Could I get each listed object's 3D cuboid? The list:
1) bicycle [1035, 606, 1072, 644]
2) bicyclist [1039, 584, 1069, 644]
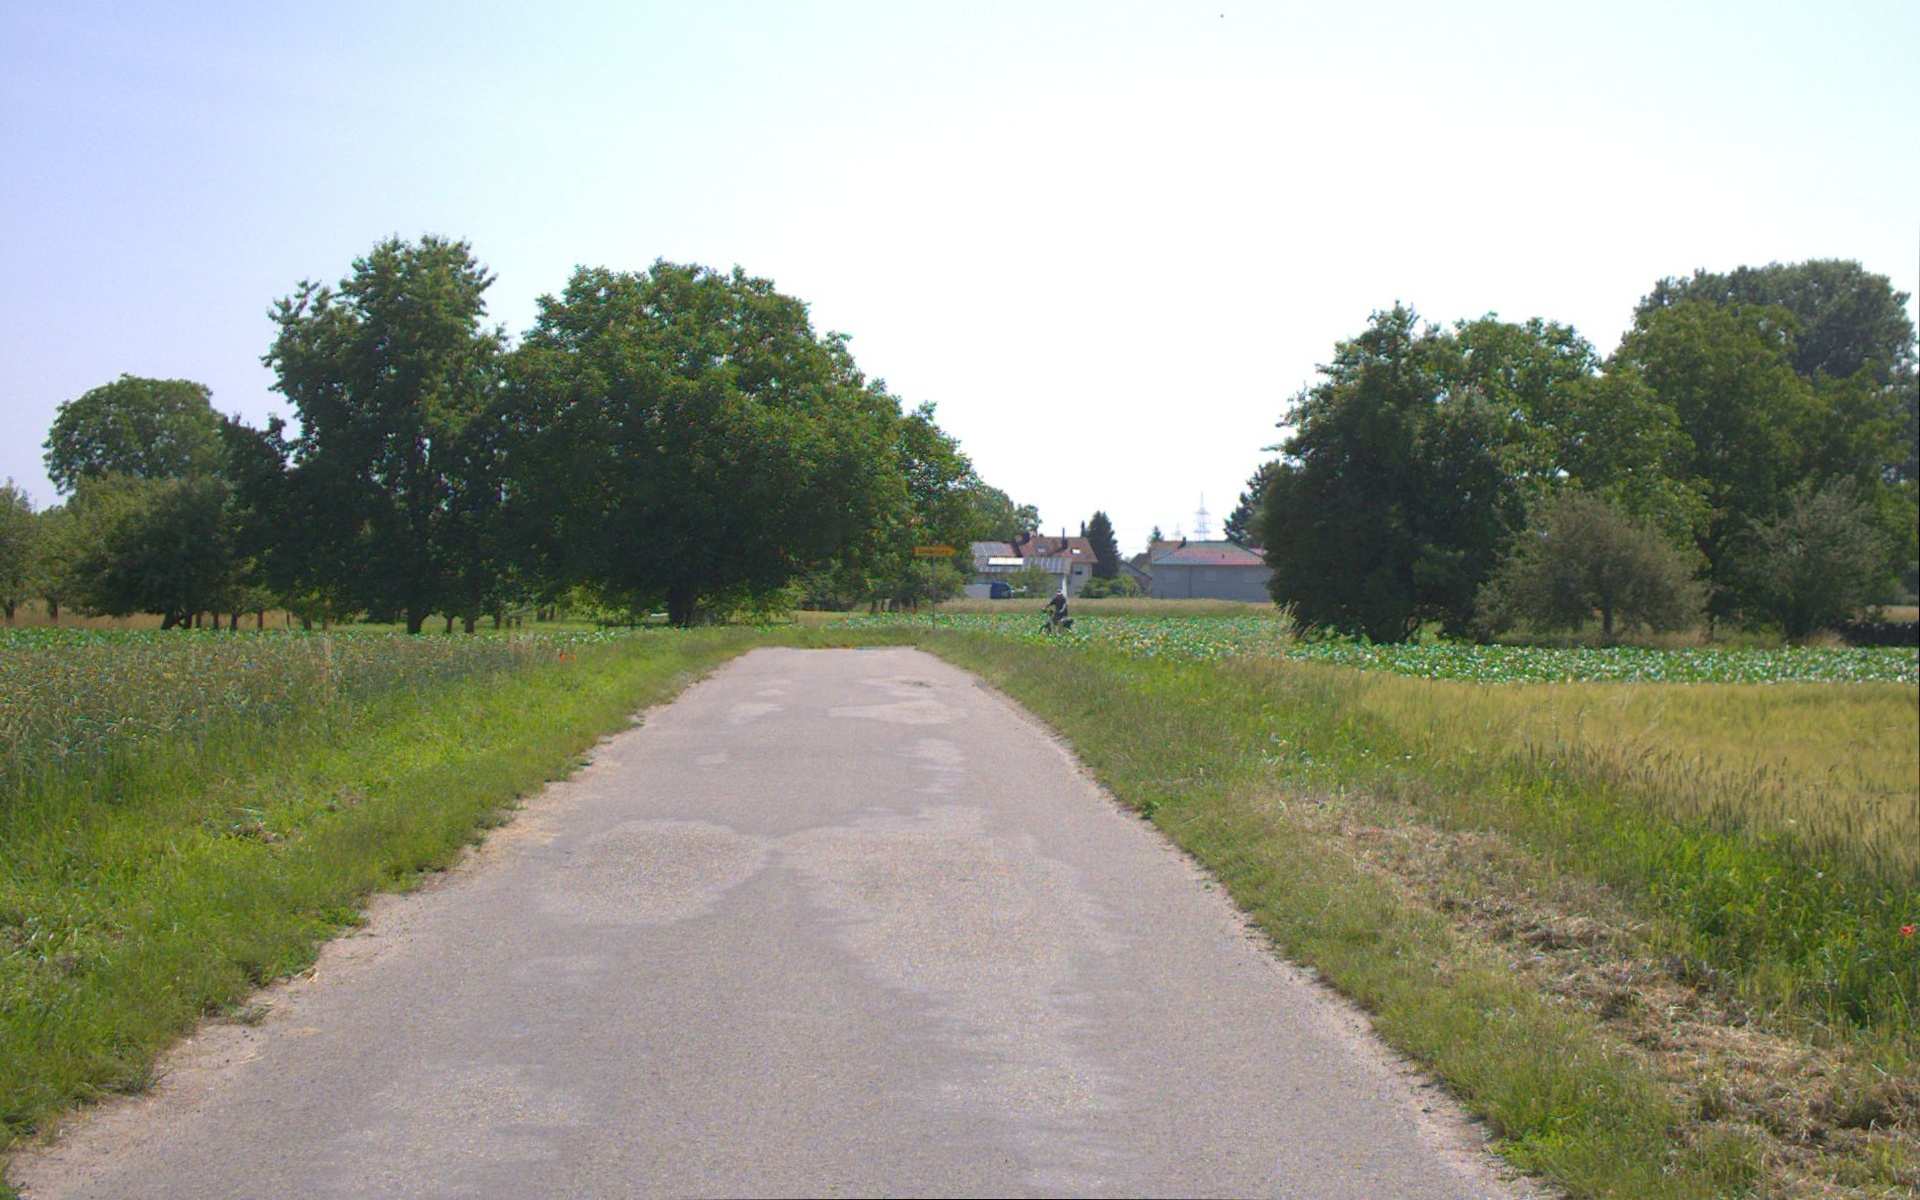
[{"bbox_3d":[2.859,0.745,104.670,0.751,1.124,1.907,-1,0,13],"label":"bicycle"},{"bbox_3d":[2.857,0.422,104.675,0.751,1.785,0.716,-1,0,13],"label":"bicyclist"}]
